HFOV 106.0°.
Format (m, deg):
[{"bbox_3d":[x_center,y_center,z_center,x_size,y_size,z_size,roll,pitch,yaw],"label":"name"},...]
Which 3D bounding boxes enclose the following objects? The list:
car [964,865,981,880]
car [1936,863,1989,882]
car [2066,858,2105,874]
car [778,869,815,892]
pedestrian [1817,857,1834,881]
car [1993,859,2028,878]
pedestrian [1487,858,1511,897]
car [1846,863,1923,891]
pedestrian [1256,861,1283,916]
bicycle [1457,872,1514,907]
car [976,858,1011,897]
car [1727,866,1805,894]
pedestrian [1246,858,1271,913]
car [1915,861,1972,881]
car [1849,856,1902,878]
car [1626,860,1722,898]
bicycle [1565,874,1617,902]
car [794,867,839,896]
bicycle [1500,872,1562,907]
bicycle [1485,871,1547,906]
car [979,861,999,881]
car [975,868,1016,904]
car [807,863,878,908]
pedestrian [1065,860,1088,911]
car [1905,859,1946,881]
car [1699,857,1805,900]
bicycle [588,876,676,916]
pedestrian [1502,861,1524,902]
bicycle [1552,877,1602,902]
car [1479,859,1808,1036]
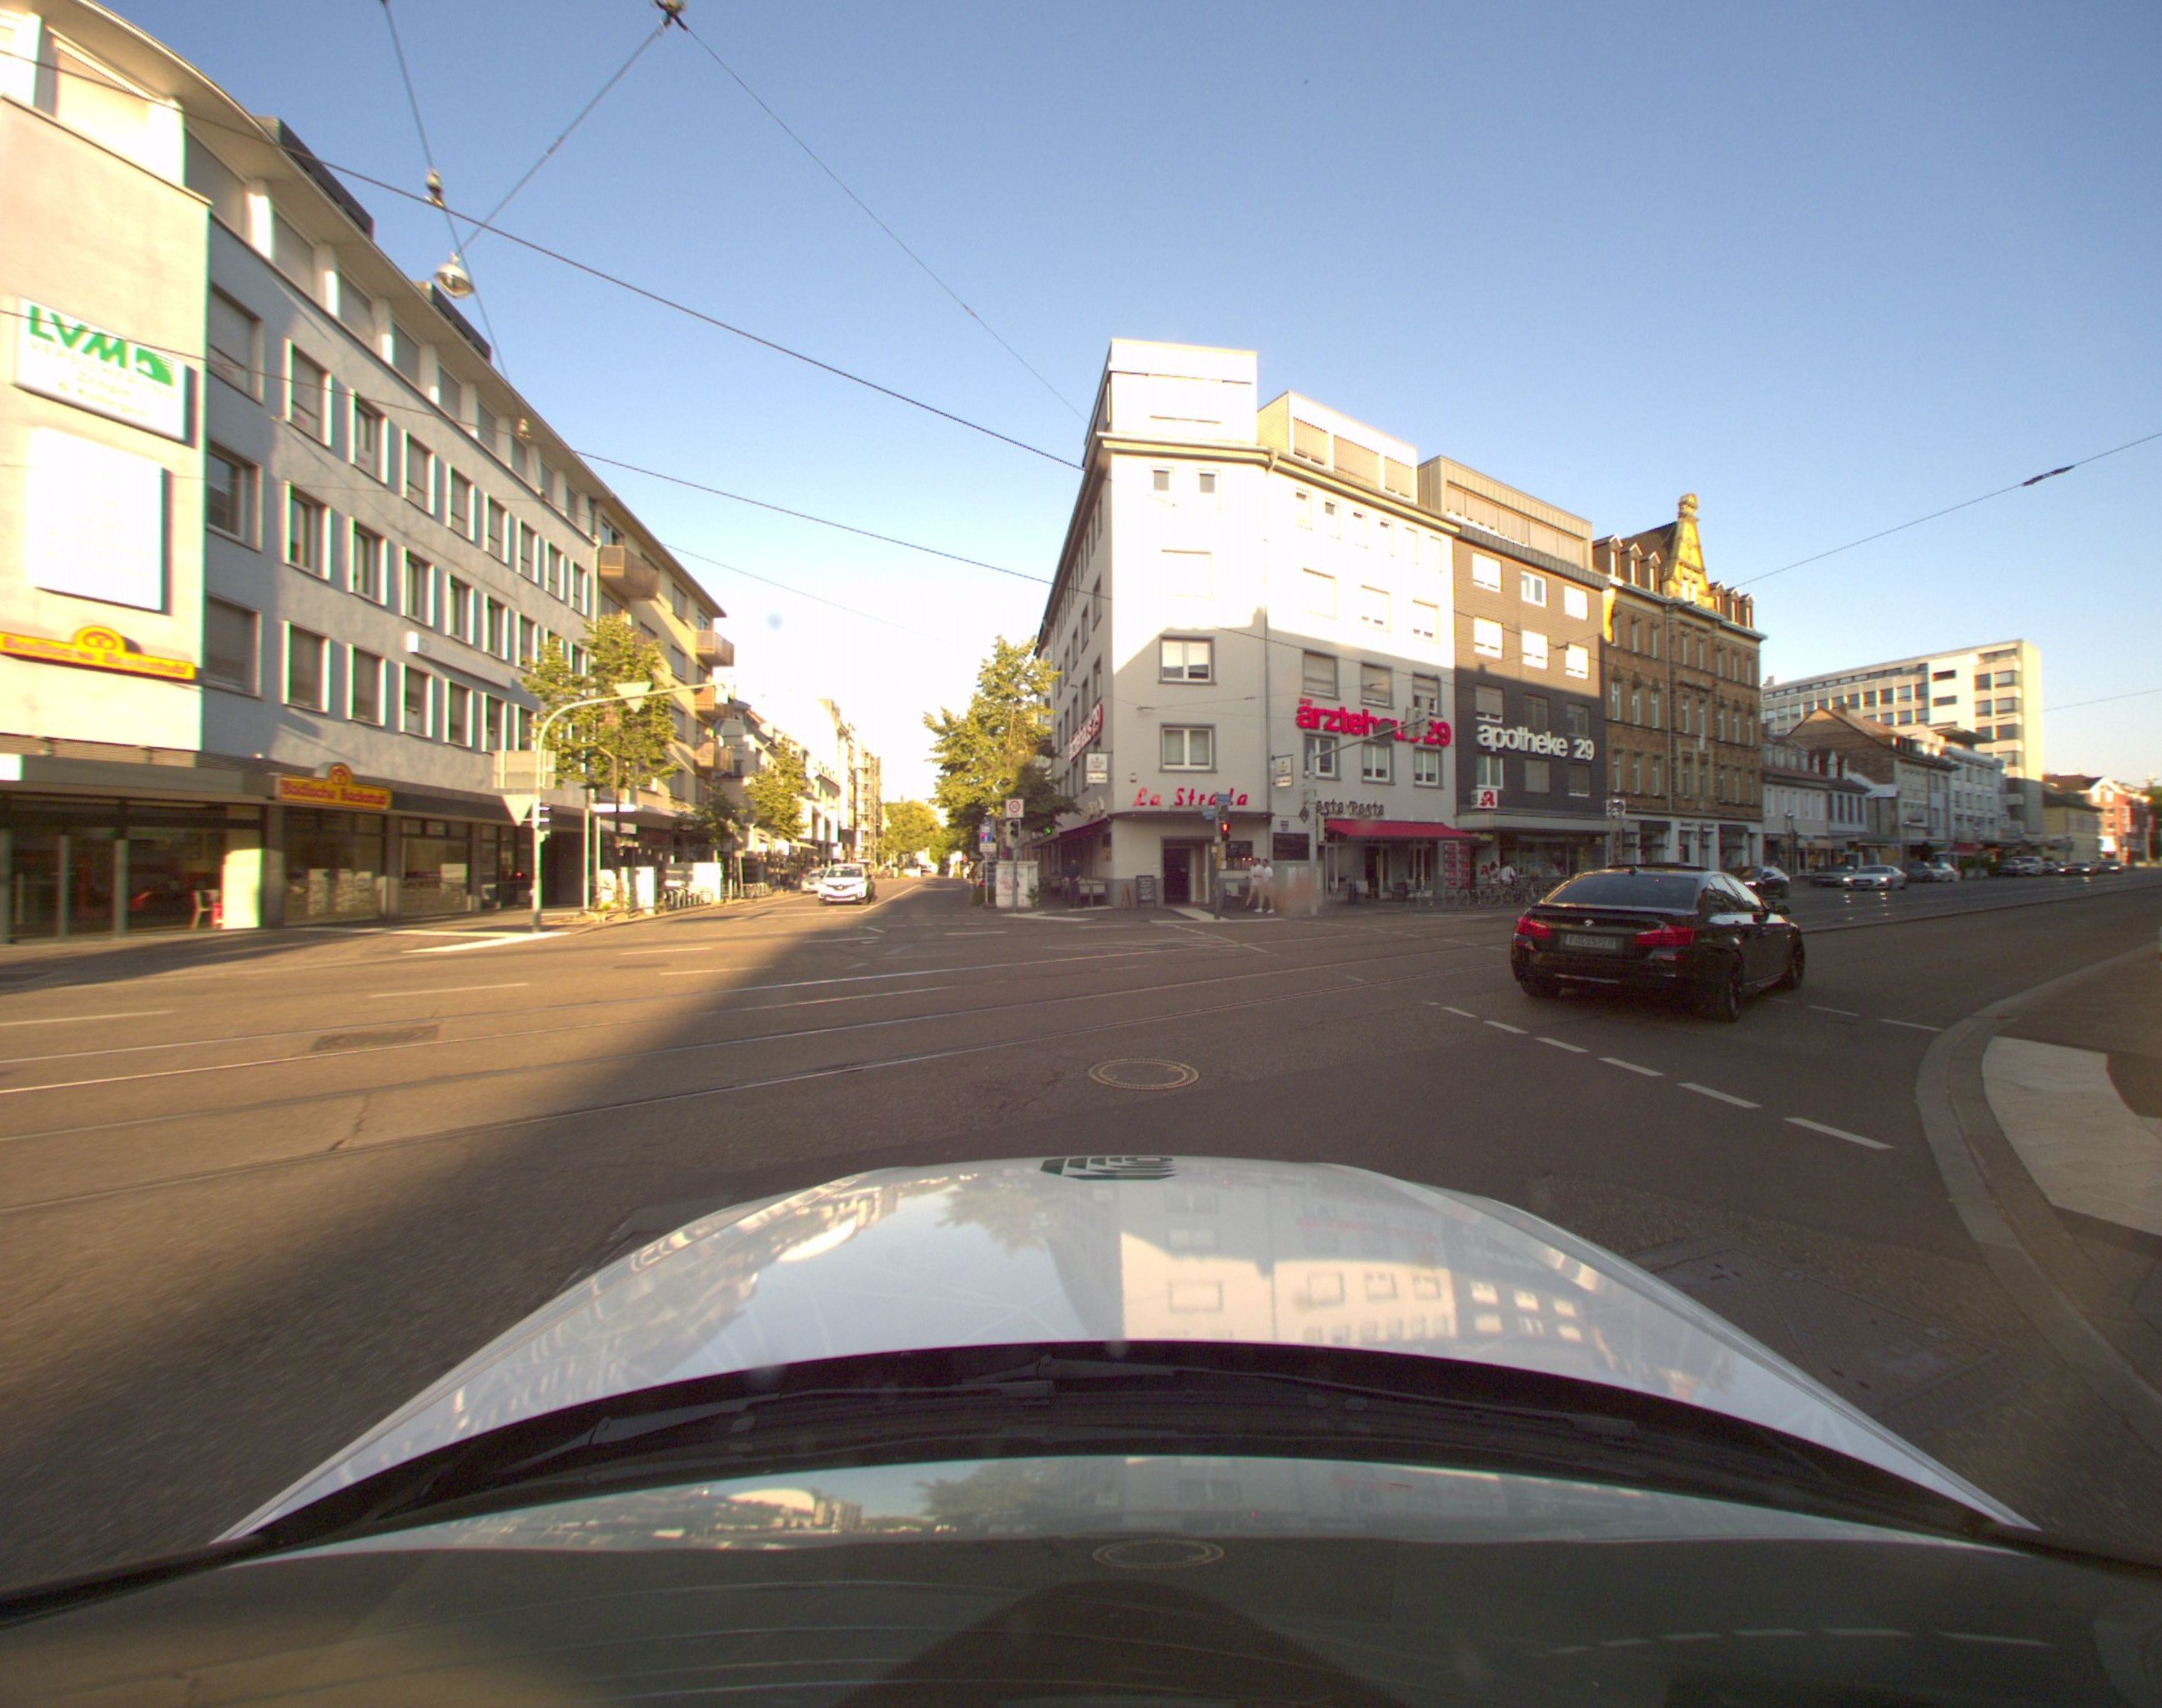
[{"bbox_3d":[-13.106,2.182,98.111,1.849,1.794,3.992,0,-1,-5],"label":"car"},{"bbox_3d":[70.048,1.483,64.674,4.343,1.453,1.980,0,-1,-31],"label":"car"},{"bbox_3d":[95.763,1.166,77.639,4.667,1.453,1.979,0,-1,-34],"label":"car"},{"bbox_3d":[-20.159,1.861,57.784,1.834,1.556,3.767,-1,-1,-10],"label":"car"},{"bbox_3d":[51.178,1.011,55.978,0.696,1.644,0.658,0,-1,-31],"label":"pedestrian"},{"bbox_3d":[87.803,1.367,76.912,4.017,1.685,1.851,1,-1,-36],"label":"car"},{"bbox_3d":[17.921,1.010,34.935,0.626,1.661,0.678,0,0,-32],"label":"pedestrian"},{"bbox_3d":[44.386,1.247,44.974,4.671,1.453,1.980,0,-1,-32],"label":"car"},{"bbox_3d":[6.070,1.092,26.279,0.666,1.744,0.636,0,-1,-10],"label":"pedestrian"},{"bbox_3d":[15.211,1.310,30.669,0.555,1.211,1.878,0,1,-31],"label":"bicycle"},{"bbox_3d":[-4.488,1.177,41.923,1.637,1.873,3.600,3,-1,-5],"label":"car"},{"bbox_3d":[37.729,1.397,44.812,4.624,1.453,1.856,0,-1,-31],"label":"car"},{"bbox_3d":[5.872,1.034,26.954,0.598,1.779,0.636,0,-1,-9],"label":"pedestrian"},{"bbox_3d":[65.907,1.309,62.192,4.837,1.453,1.980,0,-1,-31],"label":"car"},{"bbox_3d":[53.261,0.900,54.570,3.824,1.440,1.587,1,-2,-31],"label":"car"},{"bbox_3d":[27.936,1.134,38.317,4.659,1.674,1.918,0,0,-30],"label":"car"},{"bbox_3d":[21.554,1.405,34.443,0.491,1.047,1.819,-1,2,-31],"label":"bicycle"},{"bbox_3d":[-14.845,1.515,45.942,1.834,1.556,3.767,-1,-1,-9],"label":"car"},{"bbox_3d":[17.580,1.358,31.861,0.555,1.224,2.098,1,1,-31],"label":"bicycle"},{"bbox_3d":[16.749,1.313,31.393,0.555,1.224,2.098,0,1,-31],"label":"bicycle"},{"bbox_3d":[-8.807,1.630,78.145,1.849,1.794,3.992,2,-1,-5],"label":"car"},{"bbox_3d":[-3.678,1.336,35.311,1.637,1.444,3.600,0,-1,-5],"label":"car"},{"bbox_3d":[-9.116,1.193,31.456,2.108,1.556,3.999,-1,-1,-10],"label":"car"},{"bbox_3d":[-0.155,1.053,27.536,0.711,1.676,0.701,0,-1,-9],"label":"pedestrian"},{"bbox_3d":[61.759,1.168,59.538,2.804,1.577,1.467,0,-2,-31],"label":"car"},{"bbox_3d":[28.909,1.048,35.046,4.742,1.728,1.980,0,-3,-31],"label":"car"},{"bbox_3d":[-14.618,1.368,26.575,2.369,1.253,0.637,1,-2,-13],"label":"bicycle"},{"bbox_3d":[18.222,1.134,34.354,0.604,1.699,0.616,0,0,-32],"label":"pedestrian"},{"bbox_3d":[20.779,1.467,34.165,0.457,0.912,1.793,-1,2,-31],"label":"bicycle"},{"bbox_3d":[6.469,0.839,9.156,4.487,1.498,1.937,1,-1,-40],"label":"car"}]
